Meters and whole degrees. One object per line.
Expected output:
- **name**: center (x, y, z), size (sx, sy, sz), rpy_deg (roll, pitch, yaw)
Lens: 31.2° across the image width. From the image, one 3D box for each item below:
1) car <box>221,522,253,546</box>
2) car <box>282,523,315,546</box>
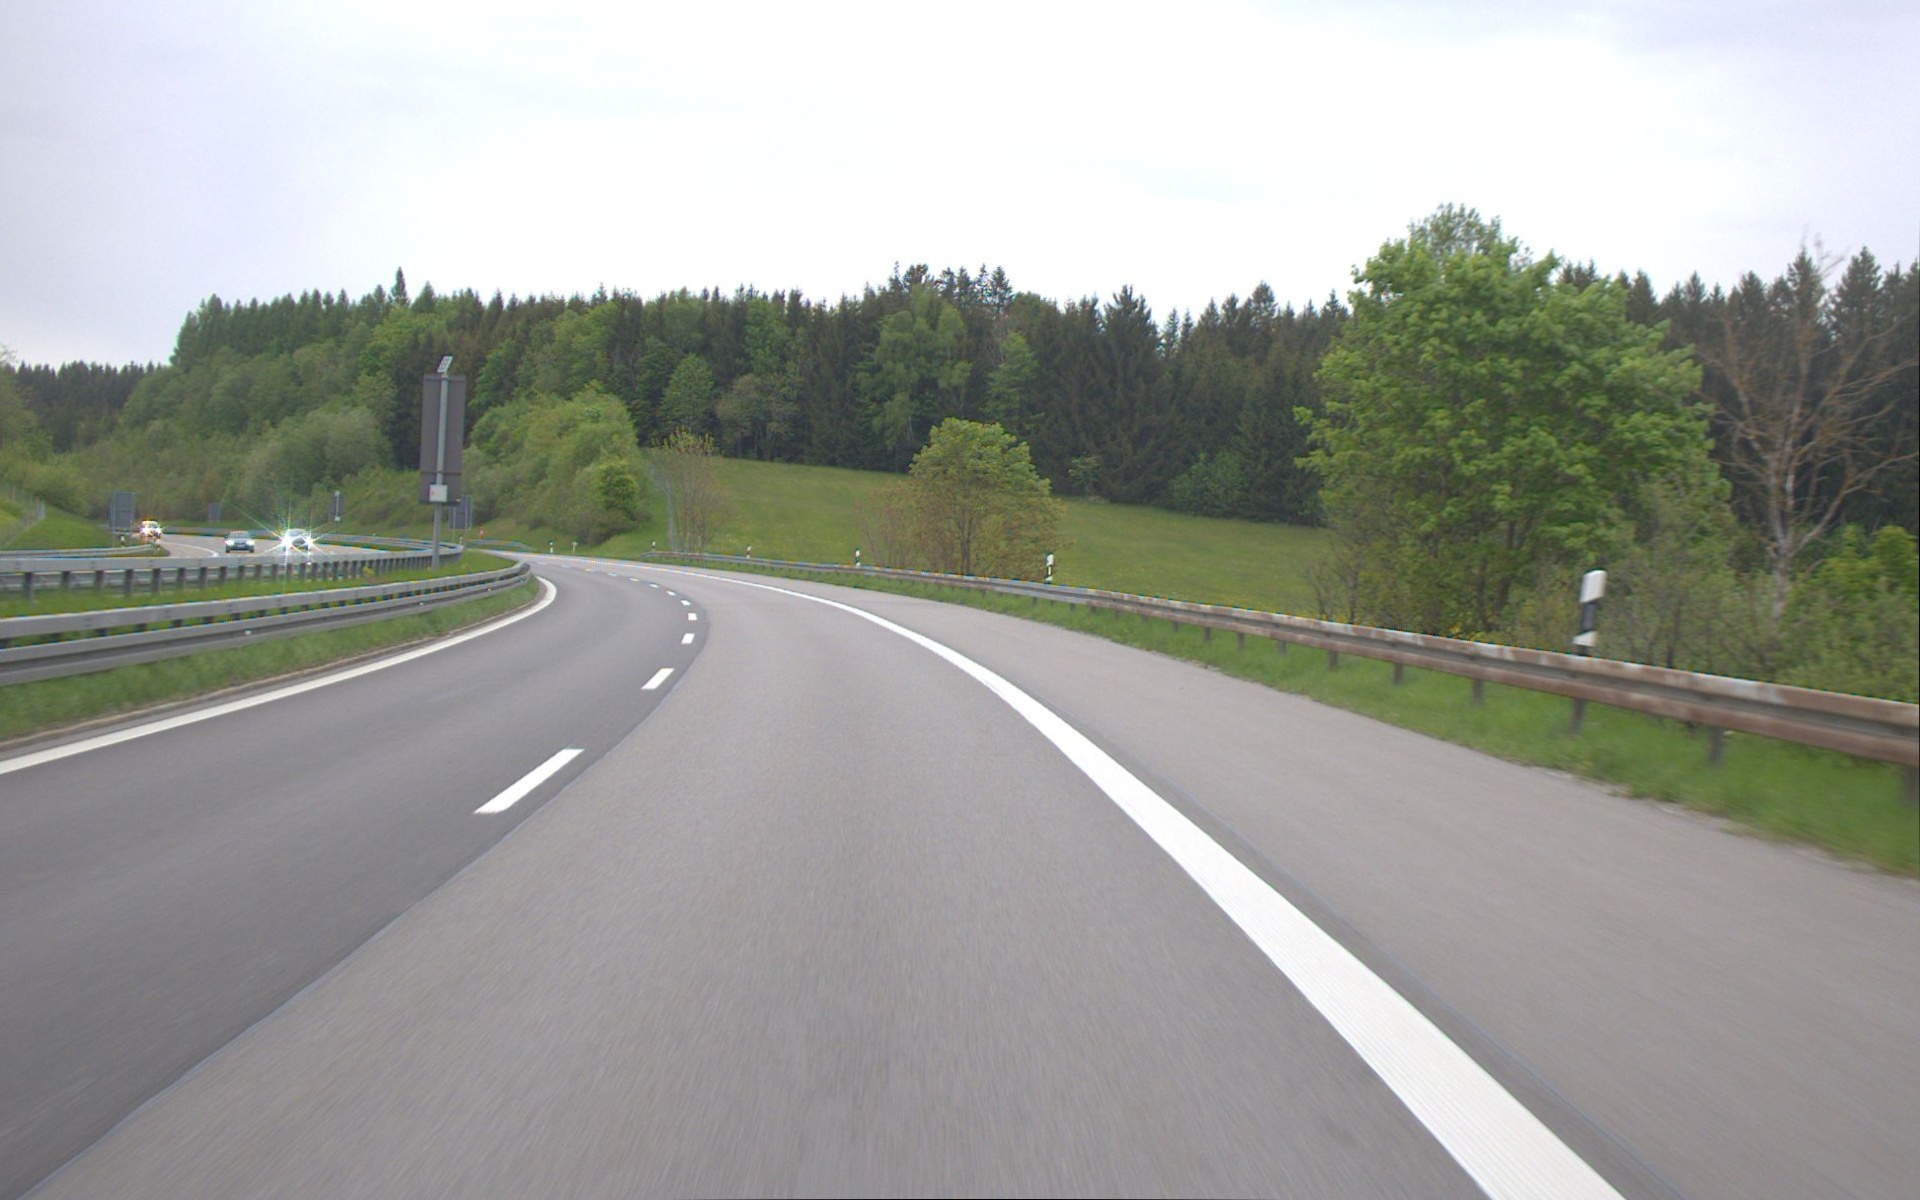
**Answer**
- **car**: center (-48.548, -4.453, 230.695), size (1.993, 1.435, 5.001), rpy_deg (3, 1, -12)
- **car**: center (-46.124, -4.570, 239.725), size (1.993, 1.412, 4.002), rpy_deg (3, 1, -13)
